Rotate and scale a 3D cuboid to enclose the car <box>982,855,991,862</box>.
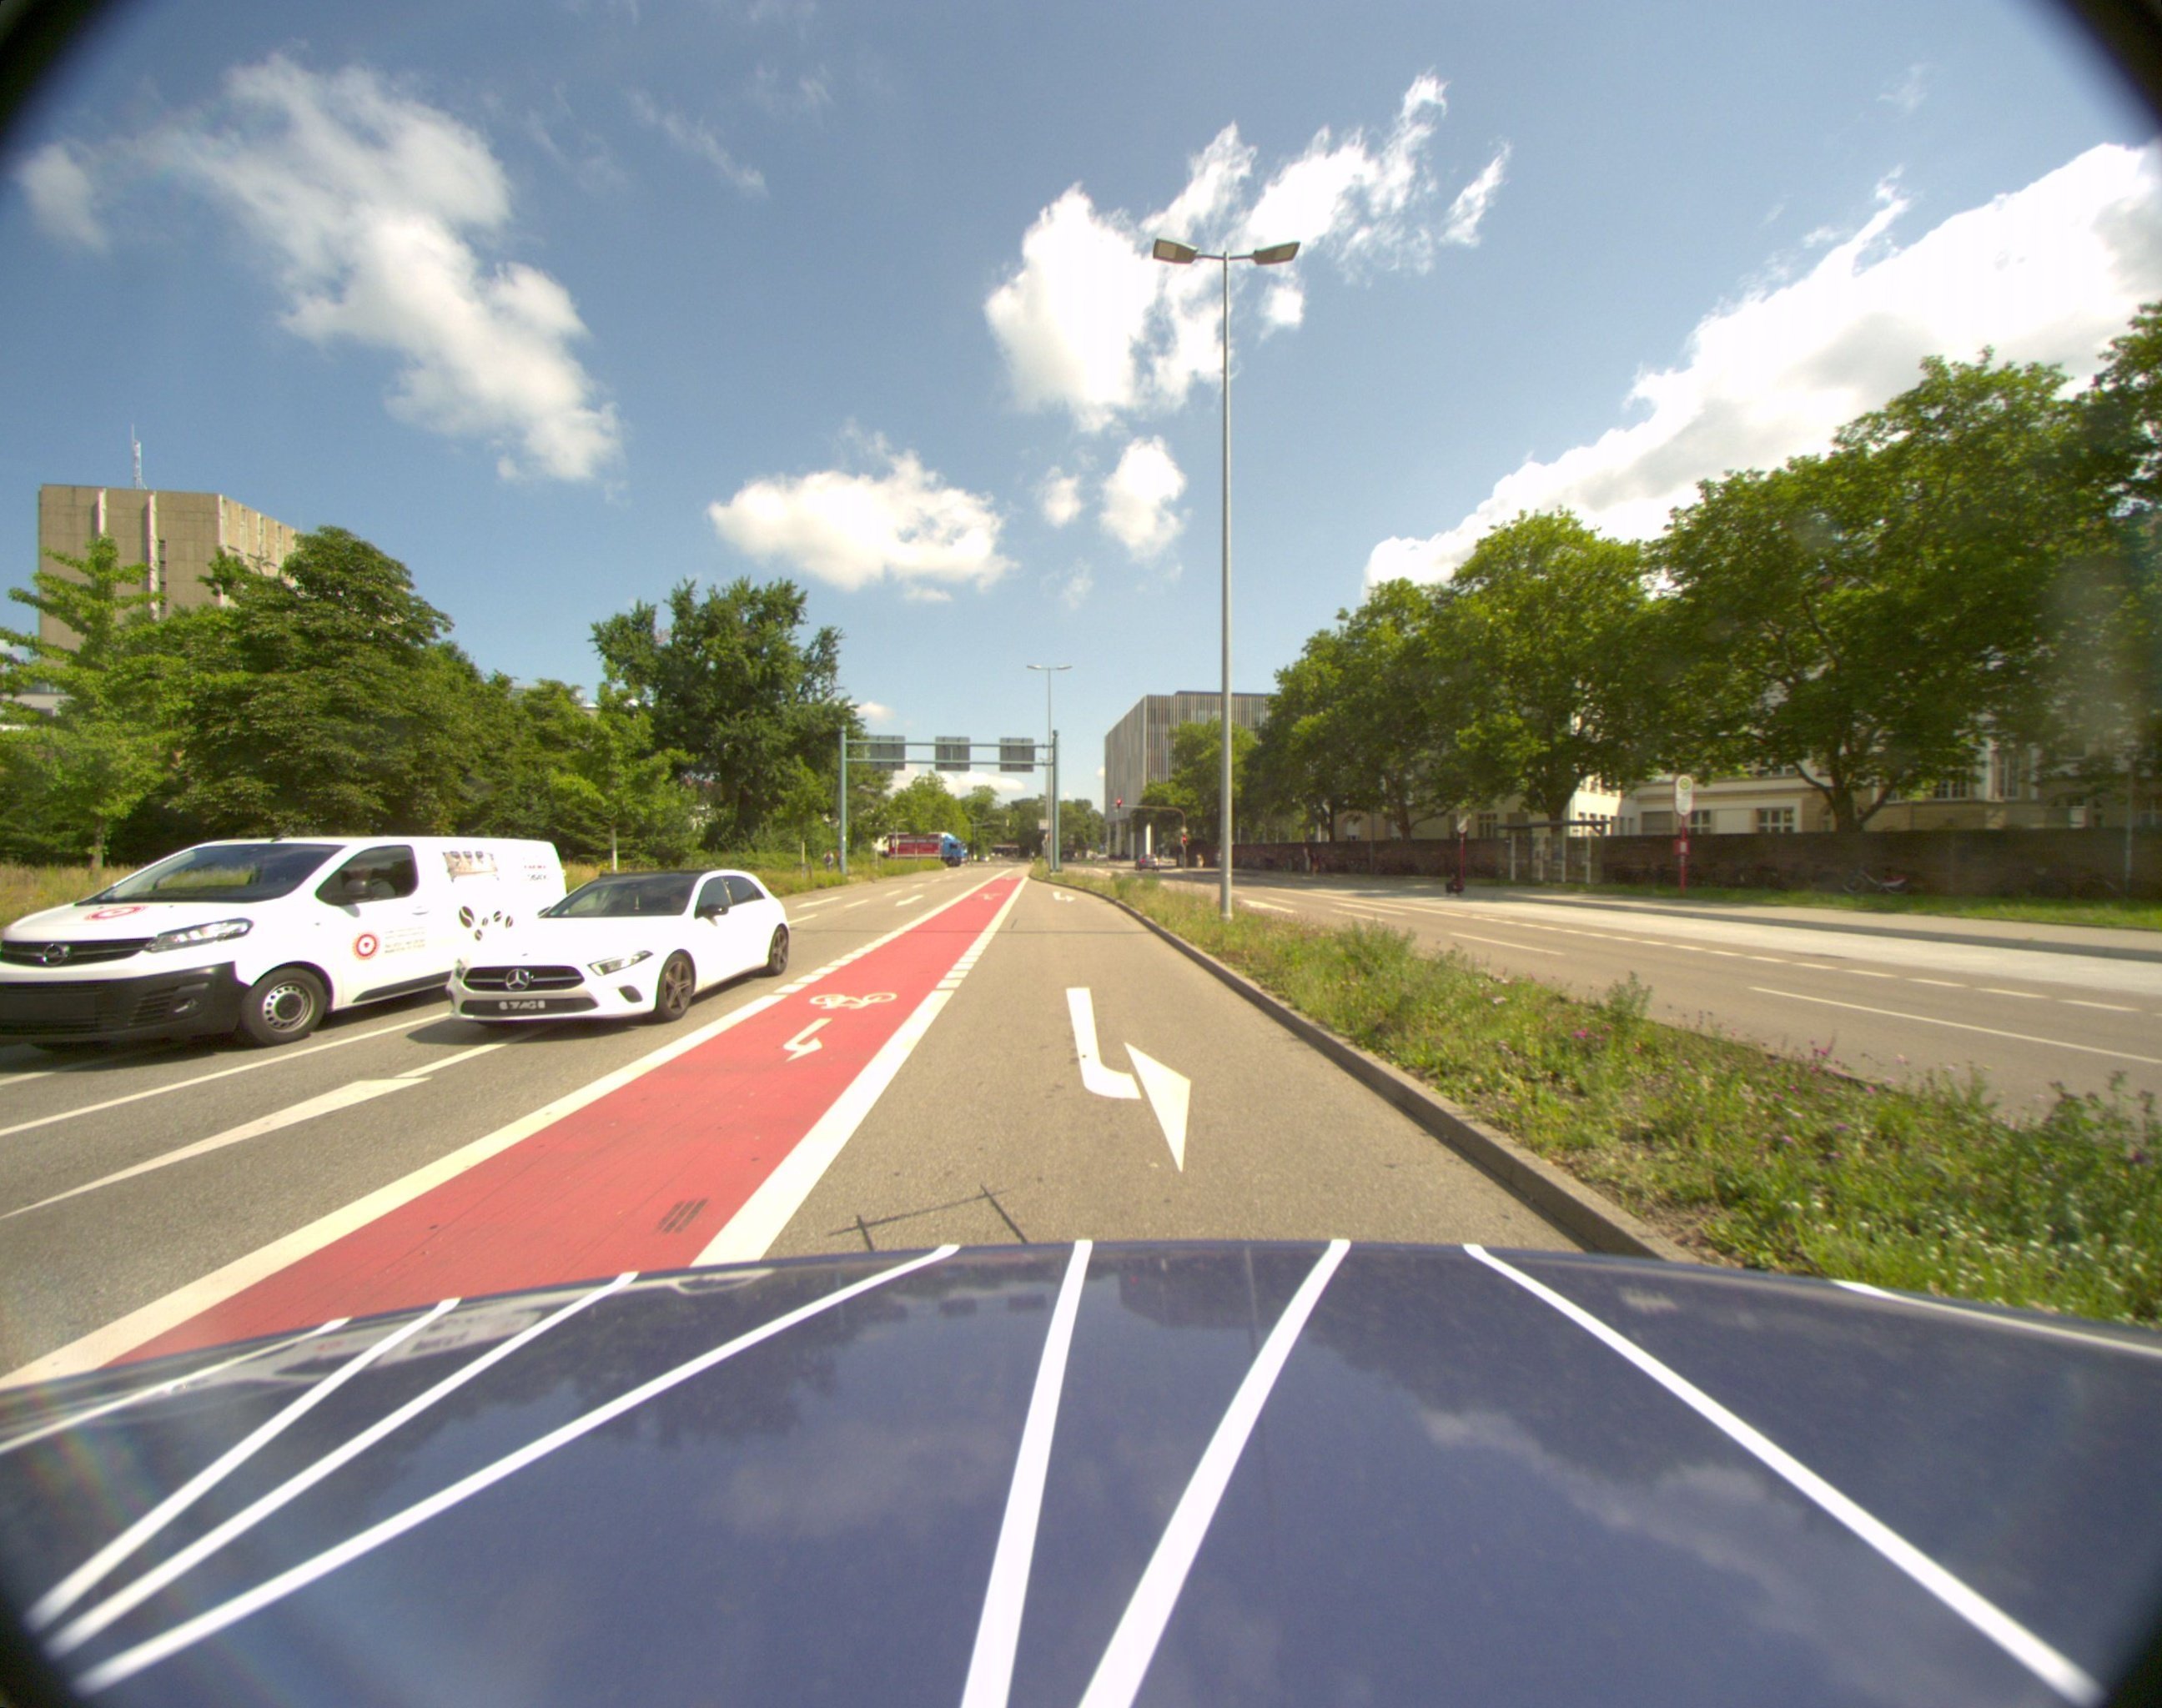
[{"bbox_3d":[-18.286,0.804,146.974,1.709,1.321,3.997,2,0,-9],"label":"car"}]

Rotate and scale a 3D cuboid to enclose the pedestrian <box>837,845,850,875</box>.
[{"bbox_3d":[-14.146,0.352,45.274,0.568,1.791,0.638,0,1,-3],"label":"pedestrian"}]

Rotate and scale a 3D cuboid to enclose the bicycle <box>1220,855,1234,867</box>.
[{"bbox_3d":[13.824,0.660,72.113,0.632,1.042,1.879,0,0,-12],"label":"bicycle"}]

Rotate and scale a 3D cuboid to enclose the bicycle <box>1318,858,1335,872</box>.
[{"bbox_3d":[17.581,0.776,54.468,0.368,0.949,1.400,0,0,-18],"label":"bicycle"}]

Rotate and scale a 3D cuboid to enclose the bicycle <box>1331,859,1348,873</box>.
[{"bbox_3d":[18.065,0.814,53.083,0.368,0.949,1.400,0,0,-18],"label":"bicycle"}]

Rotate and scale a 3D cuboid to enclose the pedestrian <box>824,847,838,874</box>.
[{"bbox_3d":[-14.886,0.394,45.327,0.624,1.572,0.708,0,1,-3],"label":"pedestrian"}]

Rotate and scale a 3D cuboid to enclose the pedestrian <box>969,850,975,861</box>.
[{"bbox_3d":[-15.402,0.219,106.945,0.742,1.640,0.639,0,1,0],"label":"pedestrian"}]

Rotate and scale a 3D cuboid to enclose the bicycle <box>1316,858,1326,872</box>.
[{"bbox_3d":[16.924,0.785,53.680,0.367,0.949,1.625,0,0,6],"label":"bicycle"}]

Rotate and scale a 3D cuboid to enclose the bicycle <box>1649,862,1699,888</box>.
[{"bbox_3d":[25.493,0.885,32.689,0.585,1.067,1.628,0,0,-25],"label":"bicycle"}]

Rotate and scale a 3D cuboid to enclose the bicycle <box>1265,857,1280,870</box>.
[{"bbox_3d":[15.658,0.754,62.092,0.395,1.042,1.879,0,0,-12],"label":"bicycle"}]

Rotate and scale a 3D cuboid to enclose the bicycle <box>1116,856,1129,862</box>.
[{"bbox_3d":[5.859,0.695,107.873,1.771,0.887,0.639,0,0,28],"label":"bicycle"}]

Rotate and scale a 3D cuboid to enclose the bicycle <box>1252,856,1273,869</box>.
[{"bbox_3d":[15.273,0.735,63.953,0.594,1.042,1.877,0,1,-28],"label":"bicycle"}]

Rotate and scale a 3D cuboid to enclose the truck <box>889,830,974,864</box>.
[{"bbox_3d":[-17.020,-0.786,86.830,9.179,3.777,2.667,0,1,5],"label":"truck"}]

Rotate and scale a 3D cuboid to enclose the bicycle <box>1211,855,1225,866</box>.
[{"bbox_3d":[13.411,0.653,74.433,0.632,1.042,1.879,0,0,-12],"label":"bicycle"}]

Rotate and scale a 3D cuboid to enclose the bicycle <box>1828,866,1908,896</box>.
[{"bbox_3d":[28.200,0.948,27.265,0.473,1.005,1.960,0,0,-24],"label":"bicycle"}]

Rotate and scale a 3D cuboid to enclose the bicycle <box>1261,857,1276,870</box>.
[{"bbox_3d":[15.261,0.767,61.994,0.374,1.042,1.879,0,0,-12],"label":"bicycle"}]

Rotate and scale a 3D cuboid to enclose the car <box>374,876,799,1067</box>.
[{"bbox_3d":[-4.833,1.015,8.389,1.909,1.415,4.384,0,0,-2],"label":"car"}]

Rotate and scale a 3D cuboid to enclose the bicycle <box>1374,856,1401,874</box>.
[{"bbox_3d":[19.409,0.695,48.077,0.584,1.067,1.753,0,0,-19],"label":"bicycle"}]

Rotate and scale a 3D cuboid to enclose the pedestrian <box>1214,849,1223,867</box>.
[{"bbox_3d":[12.526,0.393,69.299,0.643,1.641,0.730,0,1,-9],"label":"pedestrian"}]

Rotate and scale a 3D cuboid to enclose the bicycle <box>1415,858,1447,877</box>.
[{"bbox_3d":[20.501,0.775,44.554,0.585,1.067,1.752,0,0,-25],"label":"bicycle"}]

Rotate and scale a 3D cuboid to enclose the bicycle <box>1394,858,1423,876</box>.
[{"bbox_3d":[19.949,0.778,46.349,0.584,1.067,1.753,0,0,-20],"label":"bicycle"}]

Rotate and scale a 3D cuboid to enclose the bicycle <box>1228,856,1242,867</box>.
[{"bbox_3d":[14.227,0.679,70.153,0.566,1.042,1.879,0,0,-12],"label":"bicycle"}]

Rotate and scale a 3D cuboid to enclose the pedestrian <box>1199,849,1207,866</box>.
[{"bbox_3d":[11.798,0.352,73.365,0.562,1.641,0.726,0,1,-9],"label":"pedestrian"}]

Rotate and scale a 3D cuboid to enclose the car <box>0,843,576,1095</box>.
[{"bbox_3d":[-7.852,0.839,7.998,1.947,1.859,4.824,0,0,-2],"label":"car"}]

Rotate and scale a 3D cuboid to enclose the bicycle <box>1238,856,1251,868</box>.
[{"bbox_3d":[14.641,0.711,68.046,0.371,1.042,1.879,0,0,-12],"label":"bicycle"}]

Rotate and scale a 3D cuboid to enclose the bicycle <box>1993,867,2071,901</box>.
[{"bbox_3d":[29.972,0.922,23.959,0.473,1.005,1.453,0,0,-24],"label":"bicycle"}]

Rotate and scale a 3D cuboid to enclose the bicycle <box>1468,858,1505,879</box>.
[{"bbox_3d":[21.849,0.768,41.005,0.585,1.067,1.752,0,0,-25],"label":"bicycle"}]

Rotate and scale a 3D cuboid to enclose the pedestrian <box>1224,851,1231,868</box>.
[{"bbox_3d":[13.444,0.503,69.880,0.477,1.531,0.616,0,1,-9],"label":"pedestrian"}]

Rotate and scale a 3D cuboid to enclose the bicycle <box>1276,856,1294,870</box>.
[{"bbox_3d":[16.158,0.705,60.217,0.582,1.042,1.879,0,0,-12],"label":"bicycle"}]

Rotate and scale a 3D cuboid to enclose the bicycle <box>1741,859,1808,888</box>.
[{"bbox_3d":[27.007,0.746,29.639,0.584,1.067,1.867,0,0,-20],"label":"bicycle"}]

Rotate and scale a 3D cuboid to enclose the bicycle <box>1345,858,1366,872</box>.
[{"bbox_3d":[18.574,0.744,51.433,0.371,0.949,1.624,0,0,-18],"label":"bicycle"}]

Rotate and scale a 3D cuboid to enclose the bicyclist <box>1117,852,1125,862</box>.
[{"bbox_3d":[5.738,0.375,107.935,0.944,1.456,0.633,0,1,28],"label":"bicyclist"}]

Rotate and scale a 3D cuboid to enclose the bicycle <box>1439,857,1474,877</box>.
[{"bbox_3d":[21.171,0.710,42.865,0.585,1.067,1.752,0,0,-25],"label":"bicycle"}]

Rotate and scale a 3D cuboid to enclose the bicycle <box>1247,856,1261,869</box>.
[{"bbox_3d":[15.045,0.735,66.070,0.371,1.042,1.879,0,0,-12],"label":"bicycle"}]

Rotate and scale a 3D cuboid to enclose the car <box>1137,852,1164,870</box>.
[{"bbox_3d":[5.984,0.590,66.041,1.705,1.436,4.144,1,0,-3],"label":"car"}]

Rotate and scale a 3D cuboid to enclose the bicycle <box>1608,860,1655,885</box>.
[{"bbox_3d":[24.769,0.826,34.230,0.585,1.067,1.628,0,0,-25],"label":"bicycle"}]

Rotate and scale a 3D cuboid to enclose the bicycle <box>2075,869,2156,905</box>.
[{"bbox_3d":[30.775,0.972,22.634,0.392,1.005,1.367,0,0,-24],"label":"bicycle"}]

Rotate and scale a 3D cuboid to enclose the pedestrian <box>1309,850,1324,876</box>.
[{"bbox_3d":[14.814,0.554,47.737,0.658,1.600,0.744,-1,1,-2],"label":"pedestrian"}]

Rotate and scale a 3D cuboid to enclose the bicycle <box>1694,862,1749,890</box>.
[{"bbox_3d":[26.203,0.884,31.097,0.585,1.067,1.628,0,0,-25],"label":"bicycle"}]

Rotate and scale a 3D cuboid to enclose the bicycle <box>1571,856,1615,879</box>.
[{"bbox_3d":[24.067,0.621,35.750,0.585,1.067,1.628,0,0,-25],"label":"bicycle"}]

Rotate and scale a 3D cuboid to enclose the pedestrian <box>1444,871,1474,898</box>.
[{"bbox_3d":[14.055,1.123,28.253,0.696,0.957,0.742,-1,1,-4],"label":"pedestrian"}]

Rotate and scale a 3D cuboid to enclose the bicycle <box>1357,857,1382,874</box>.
[{"bbox_3d":[18.917,0.729,49.823,0.584,1.067,1.753,0,0,-19],"label":"bicycle"}]

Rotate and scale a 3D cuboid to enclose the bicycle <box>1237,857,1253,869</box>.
[{"bbox_3d":[14.369,0.770,66.578,0.594,1.042,1.879,0,0,-12],"label":"bicycle"}]

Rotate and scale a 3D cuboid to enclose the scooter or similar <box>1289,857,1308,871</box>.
[{"bbox_3d":[16.720,0.766,58.368,0.582,1.042,1.879,0,0,-12],"label":"scooter or similar"}]
